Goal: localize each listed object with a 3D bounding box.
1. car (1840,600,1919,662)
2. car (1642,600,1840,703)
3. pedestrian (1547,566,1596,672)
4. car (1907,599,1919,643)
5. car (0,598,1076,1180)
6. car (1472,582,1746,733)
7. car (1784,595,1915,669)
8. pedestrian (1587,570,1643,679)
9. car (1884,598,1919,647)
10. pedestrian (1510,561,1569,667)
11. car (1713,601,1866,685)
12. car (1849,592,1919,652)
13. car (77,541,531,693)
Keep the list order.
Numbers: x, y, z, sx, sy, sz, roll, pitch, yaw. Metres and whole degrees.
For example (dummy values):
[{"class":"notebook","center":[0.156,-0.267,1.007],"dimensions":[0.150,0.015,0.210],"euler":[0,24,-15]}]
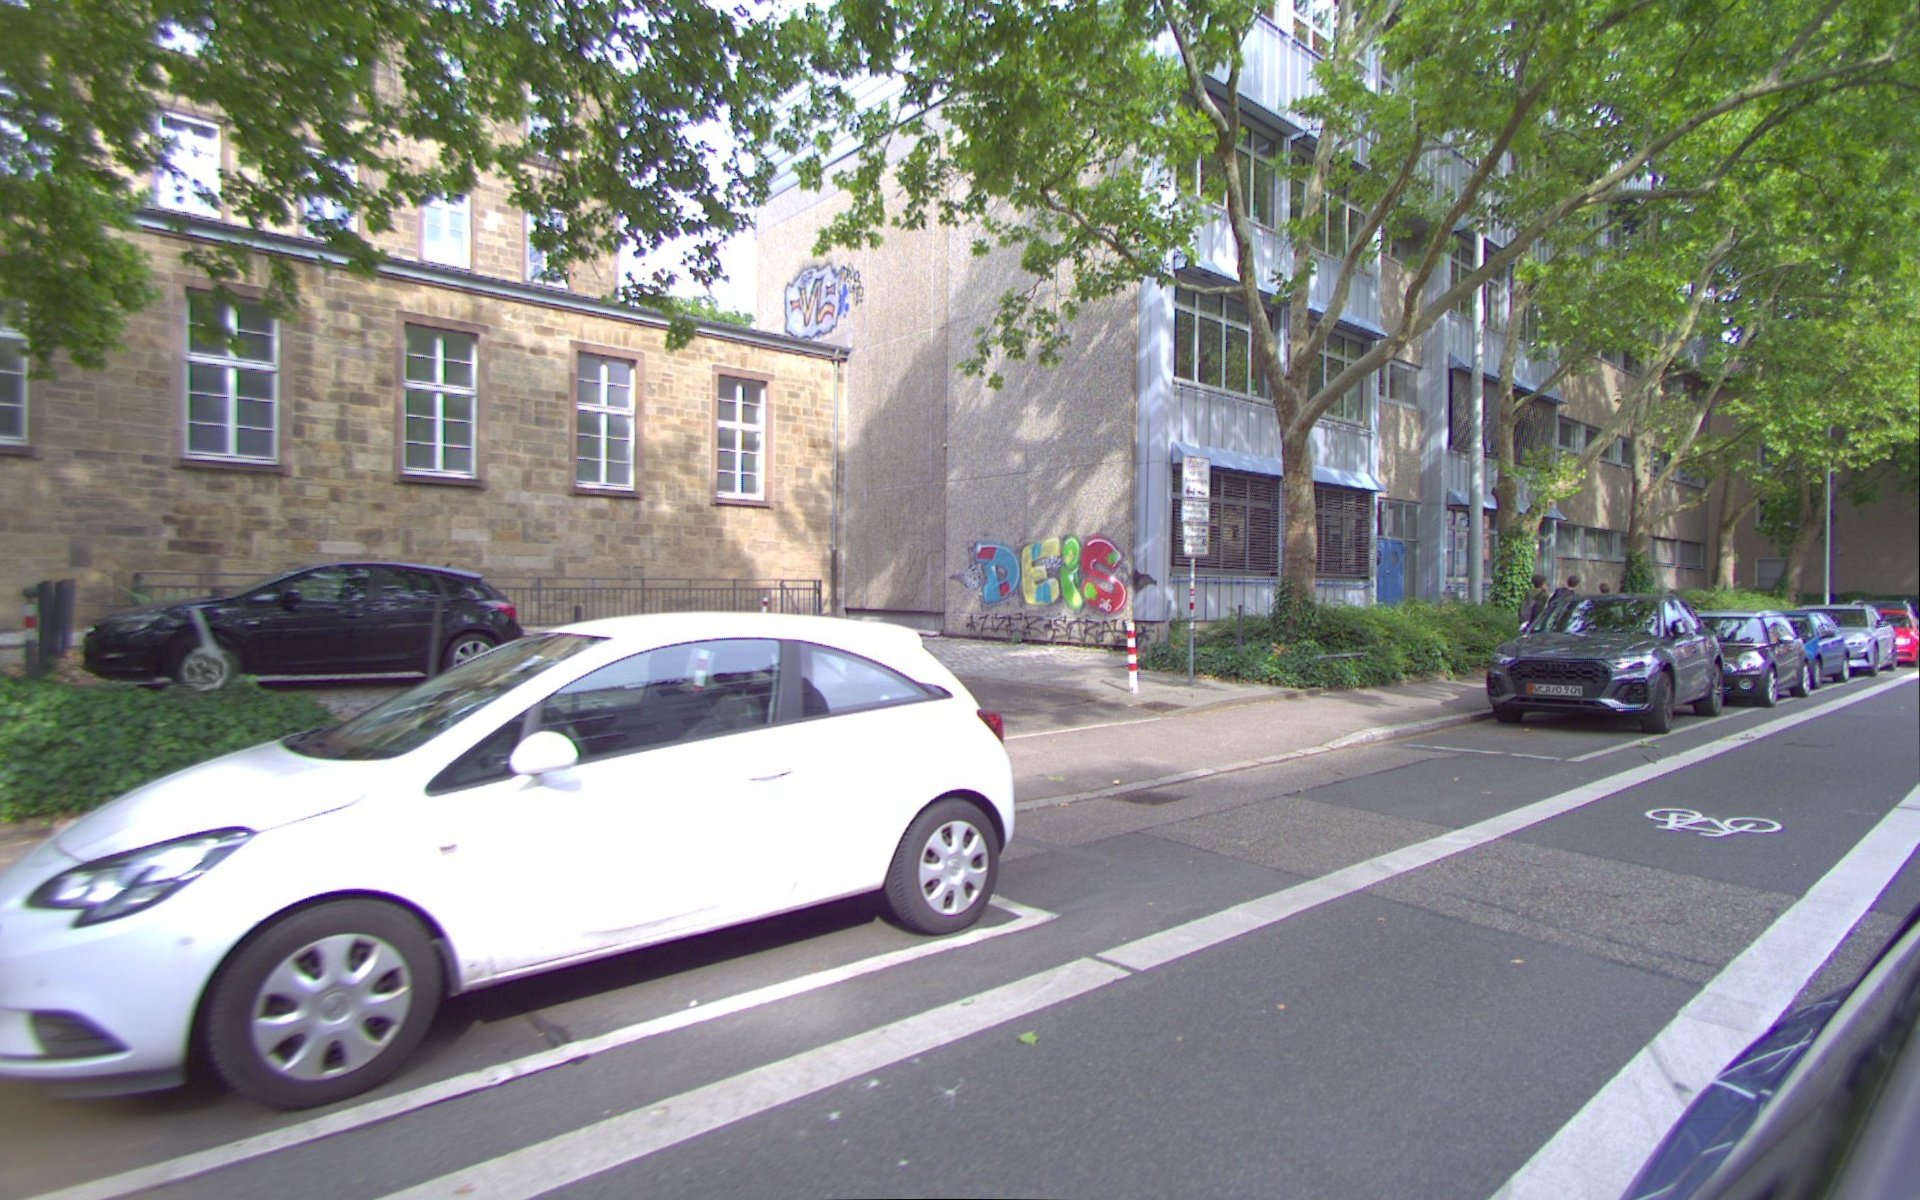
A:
[{"class":"car","center":[24.103,0.754,26.057],"dimensions":[4.032,1.465,1.601],"euler":[0,-1,-41]},{"class":"car","center":[12.781,0.742,16.456],"dimensions":[4.493,1.451,1.642],"euler":[0,-1,-41]},{"class":"pedestrian","center":[10.798,0.328,17.870],"dimensions":[0.518,1.806,0.502],"euler":[0,4,-41]},{"class":"car","center":[35.027,0.720,35.935],"dimensions":[3.886,1.545,1.601],"euler":[0,-1,-41]},{"class":"car","center":[-1.558,0.740,4.467],"dimensions":[4.143,1.466,1.757],"euler":[0,-1,-40]},{"class":"car","center":[8.574,0.639,13.209],"dimensions":[4.405,1.642,1.923],"euler":[0,-1,-42]},{"class":"car","center":[20.052,0.664,22.757],"dimensions":[4.362,1.524,1.601],"euler":[0,-1,-41]},{"class":"pedestrian","center":[11.271,0.399,17.413],"dimensions":[0.468,1.806,0.592],"euler":[0,4,-41]},{"class":"car","center":[31.498,0.704,32.938],"dimensions":[3.886,1.545,1.601],"euler":[0,-1,-41]},{"class":"pedestrian","center":[10.547,0.234,18.426],"dimensions":[0.634,1.855,0.643],"euler":[0,4,-41]},{"class":"car","center":[15.967,0.753,19.428],"dimensions":[3.886,1.441,1.601],"euler":[0,-1,-41]},{"class":"car","center":[27.976,0.613,30.189],"dimensions":[3.730,1.686,1.650],"euler":[0,-1,-41]},{"class":"car","center":[-7.492,0.224,11.847],"dimensions":[4.224,1.468,1.671],"euler":[3,-1,-42]}]
